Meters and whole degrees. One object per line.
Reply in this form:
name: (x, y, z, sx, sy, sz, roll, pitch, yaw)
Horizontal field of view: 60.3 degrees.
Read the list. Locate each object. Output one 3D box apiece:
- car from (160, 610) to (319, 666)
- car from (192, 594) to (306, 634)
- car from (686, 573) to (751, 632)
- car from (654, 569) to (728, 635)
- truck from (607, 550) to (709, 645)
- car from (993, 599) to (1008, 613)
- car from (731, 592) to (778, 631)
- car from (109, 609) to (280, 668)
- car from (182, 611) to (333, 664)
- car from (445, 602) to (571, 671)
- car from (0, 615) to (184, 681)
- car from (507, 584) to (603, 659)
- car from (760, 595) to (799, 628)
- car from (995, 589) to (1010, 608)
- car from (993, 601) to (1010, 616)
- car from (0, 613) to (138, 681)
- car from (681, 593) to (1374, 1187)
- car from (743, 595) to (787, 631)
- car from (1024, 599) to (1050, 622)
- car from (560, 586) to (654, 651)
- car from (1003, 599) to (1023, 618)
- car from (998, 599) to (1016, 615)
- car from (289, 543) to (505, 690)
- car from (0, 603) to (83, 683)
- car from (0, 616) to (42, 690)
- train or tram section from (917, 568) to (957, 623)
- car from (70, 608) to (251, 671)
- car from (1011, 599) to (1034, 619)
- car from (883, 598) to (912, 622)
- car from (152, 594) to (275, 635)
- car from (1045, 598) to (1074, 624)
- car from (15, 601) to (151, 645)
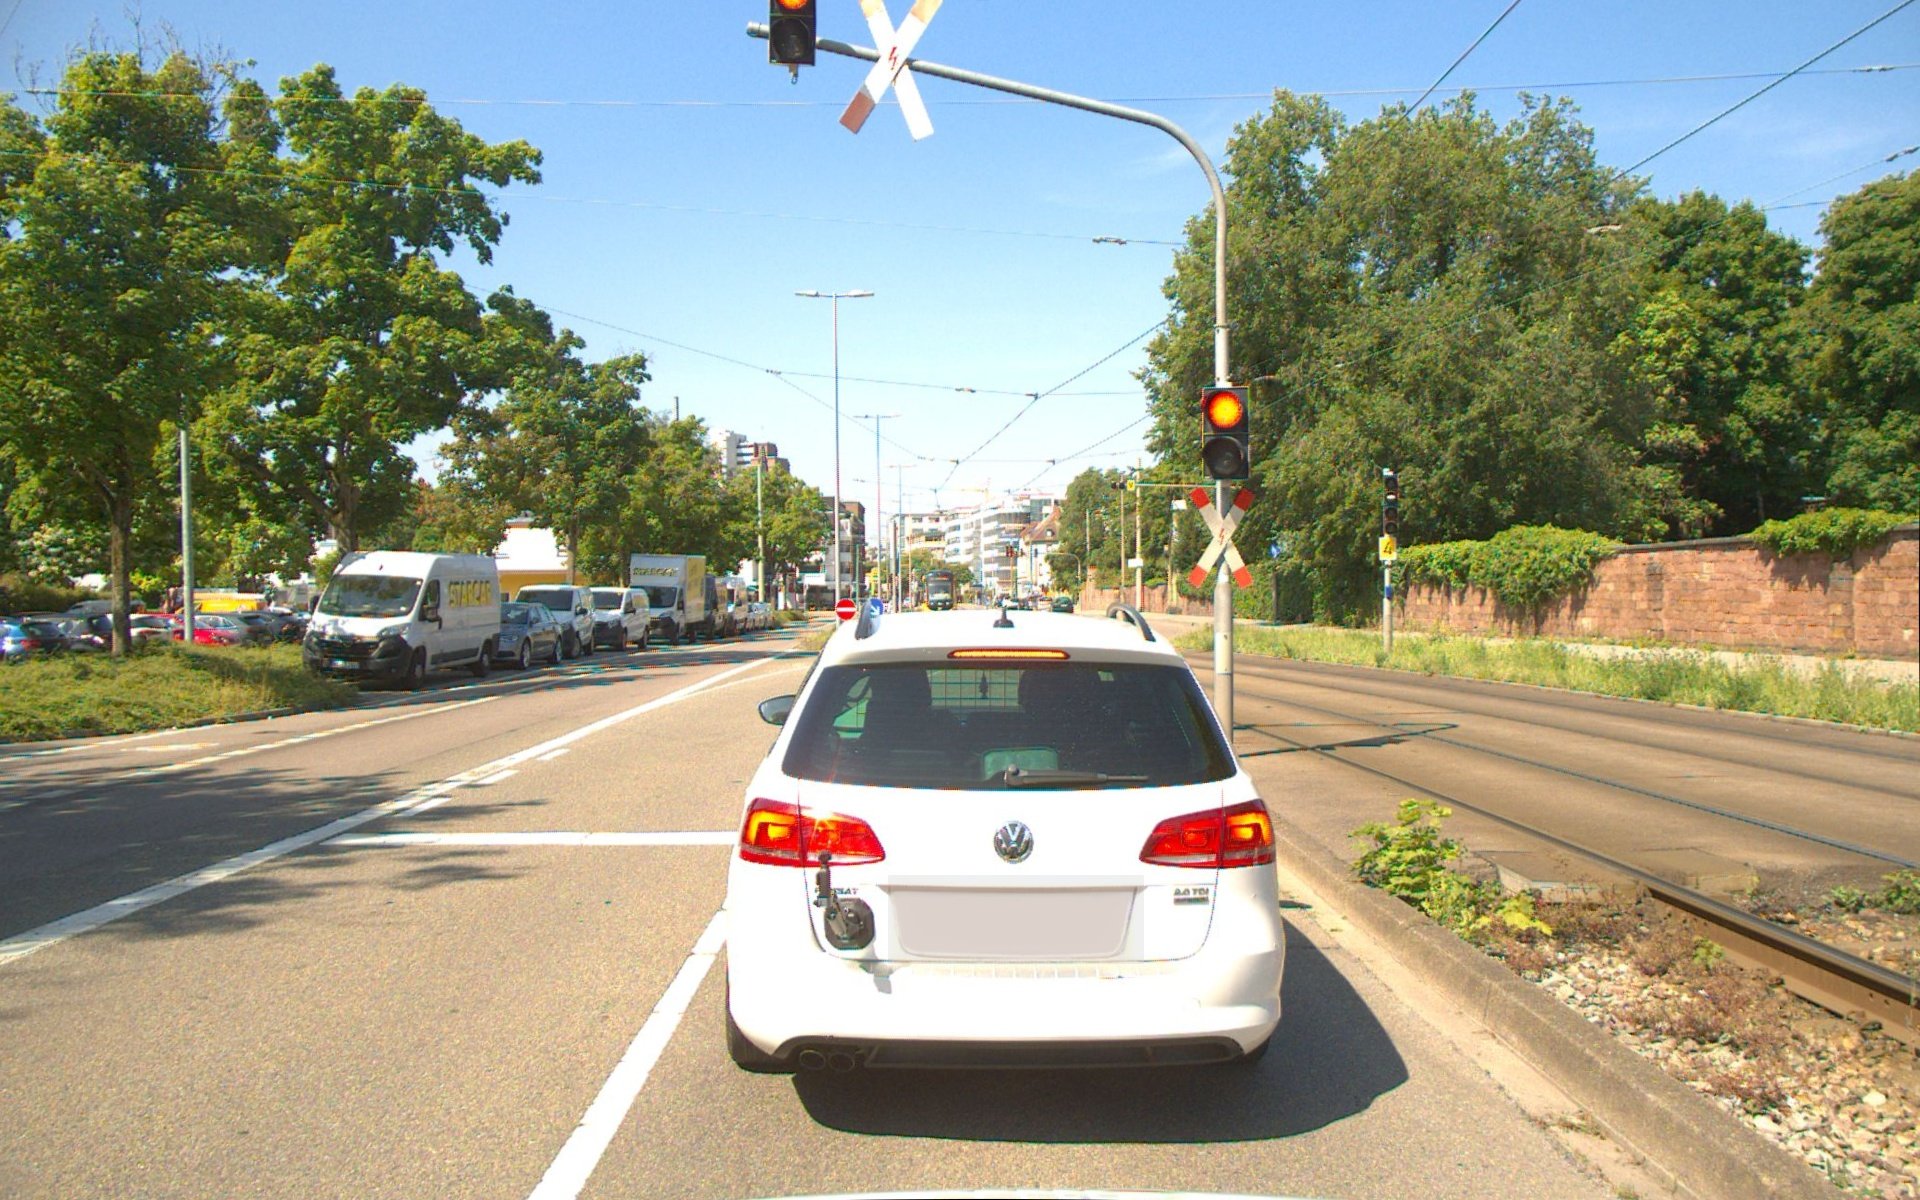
car: (-21.273, 1.108, 48.924, 3.909, 1.440, 1.728, -2, 0, -5)
car: (-34.891, 0.687, 81.295, 4.698, 1.819, 2.062, 1, 0, -5)
car: (-10.981, 0.106, 75.577, 2.079, 2.560, 5.733, 1, 0, 0)
car: (-11.004, 0.071, 68.141, 2.079, 2.560, 5.733, 1, 0, 0)
truck: (-10.859, -0.104, 60.144, 2.371, 3.205, 6.996, 1, 0, 0)
car: (5.667, 0.851, 231.049, 1.826, 1.900, 5.060, 1, 0, -2)
car: (-10.484, 0.566, 84.692, 1.826, 1.900, 5.412, 1, 0, -1)
car: (-21.285, 1.063, 46.106, 3.909, 1.440, 1.728, -2, 0, -5)
car: (-21.705, 1.135, 51.215, 3.909, 1.440, 1.728, -2, 0, -5)
car: (-10.468, 0.808, 38.601, 1.826, 1.440, 4.278, 1, 0, -1)
car: (-21.729, 1.173, 41.237, 3.909, 1.440, 1.728, -2, 0, -5)
car: (-10.974, 0.537, 45.134, 1.827, 1.900, 5.068, 1, 0, -6)
car: (-10.699, 0.656, 98.419, 1.826, 1.900, 5.412, 1, 0, -1)
car: (6.549, -0.230, 255.141, 2.015, 2.807, 5.630, 1, 0, -2)
car: (5.405, 1.087, 215.584, 1.826, 1.900, 5.060, 1, 0, -2)
car: (-21.614, 1.121, 38.629, 3.909, 1.440, 1.728, -2, 0, -5)
car: (0.146, 0.721, 6.187, 1.726, 1.455, 3.999, -1, 0, -1)
car: (-10.754, 0.698, 91.502, 1.826, 1.900, 5.412, 1, 0, -1)
car: (6.758, 0.907, 145.725, 1.826, 1.900, 5.060, 1, 0, -2)
car: (-10.962, 0.534, 51.718, 1.826, 1.900, 5.412, 1, 0, -1)
car: (5.726, 0.898, 178.737, 1.826, 1.900, 5.060, 1, 0, -2)
car: (5.723, 0.857, 201.392, 1.826, 1.900, 5.060, 1, 0, -2)
car: (-10.743, 0.280, 32.123, 2.079, 2.560, 5.817, 1, 0, 1)
car: (-21.074, 0.967, 35.112, 3.909, 1.638, 1.728, -2, 0, -5)
car: (-20.725, 1.127, 32.857, 3.909, 1.440, 1.728, -2, 0, -5)
train or tram section: (-1.769, -0.374, 125.402, 2.812, 3.923, 12.389, -1, 0, -1)
car: (-21.107, 1.030, 43.778, 3.909, 1.440, 1.728, -2, 0, -5)
car: (6.057, 0.838, 161.205, 1.826, 1.900, 5.060, 1, 0, -2)
car: (-4.226, 0.660, 112.229, 1.670, 1.499, 4.589, -1, 0, 0)
car: (-34.447, 0.674, 76.440, 4.698, 1.819, 2.062, 1, 0, -5)
car: (7.770, 0.841, 129.788, 1.826, 1.900, 5.060, 1, 0, -2)
car: (-37.807, 0.991, 71.372, 4.698, 1.819, 2.062, 1, 0, -5)
